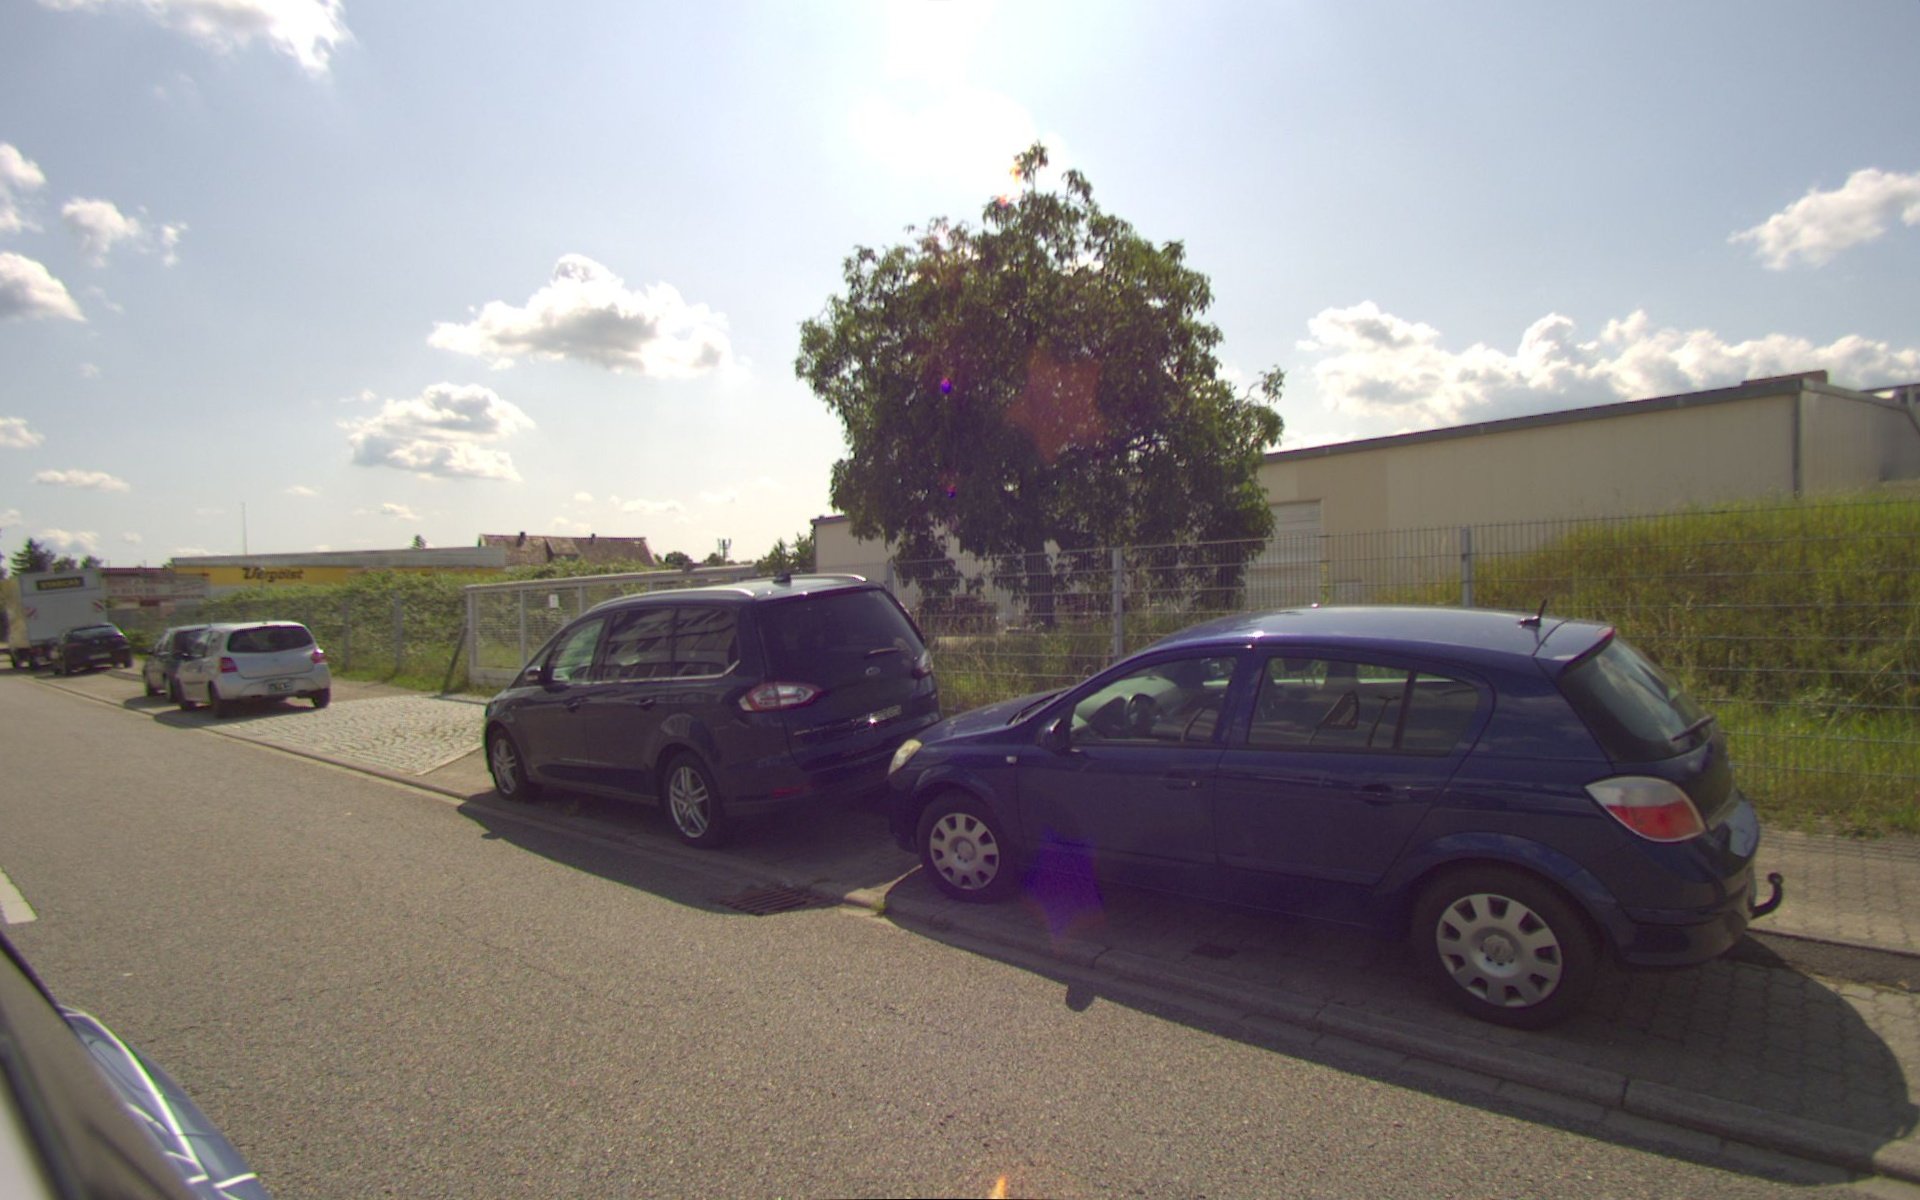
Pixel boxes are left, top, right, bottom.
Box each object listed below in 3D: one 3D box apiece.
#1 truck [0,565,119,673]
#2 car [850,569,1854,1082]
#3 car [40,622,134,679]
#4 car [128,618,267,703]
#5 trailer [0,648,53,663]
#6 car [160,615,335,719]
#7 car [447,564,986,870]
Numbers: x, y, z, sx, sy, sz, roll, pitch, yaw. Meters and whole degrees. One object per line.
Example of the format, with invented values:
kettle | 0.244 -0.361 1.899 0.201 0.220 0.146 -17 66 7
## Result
truck | -32.143 0.693 35.871 6.903 3.386 2.228 -2 3 41
car | 1.507 0.687 4.950 4.197 1.524 1.561 -1 0 40
car | -26.793 1.495 31.022 3.825 1.440 1.603 -2 5 42
car | -15.632 1.181 20.683 3.799 1.409 1.552 -2 4 43
trailer | -43.031 2.518 45.932 4.442 0.556 2.212 -1 -1 41
car | -12.258 1.075 17.334 3.708 1.494 1.599 -2 1 42
car | -2.179 0.715 8.079 4.710 1.763 1.782 -1 -1 41
